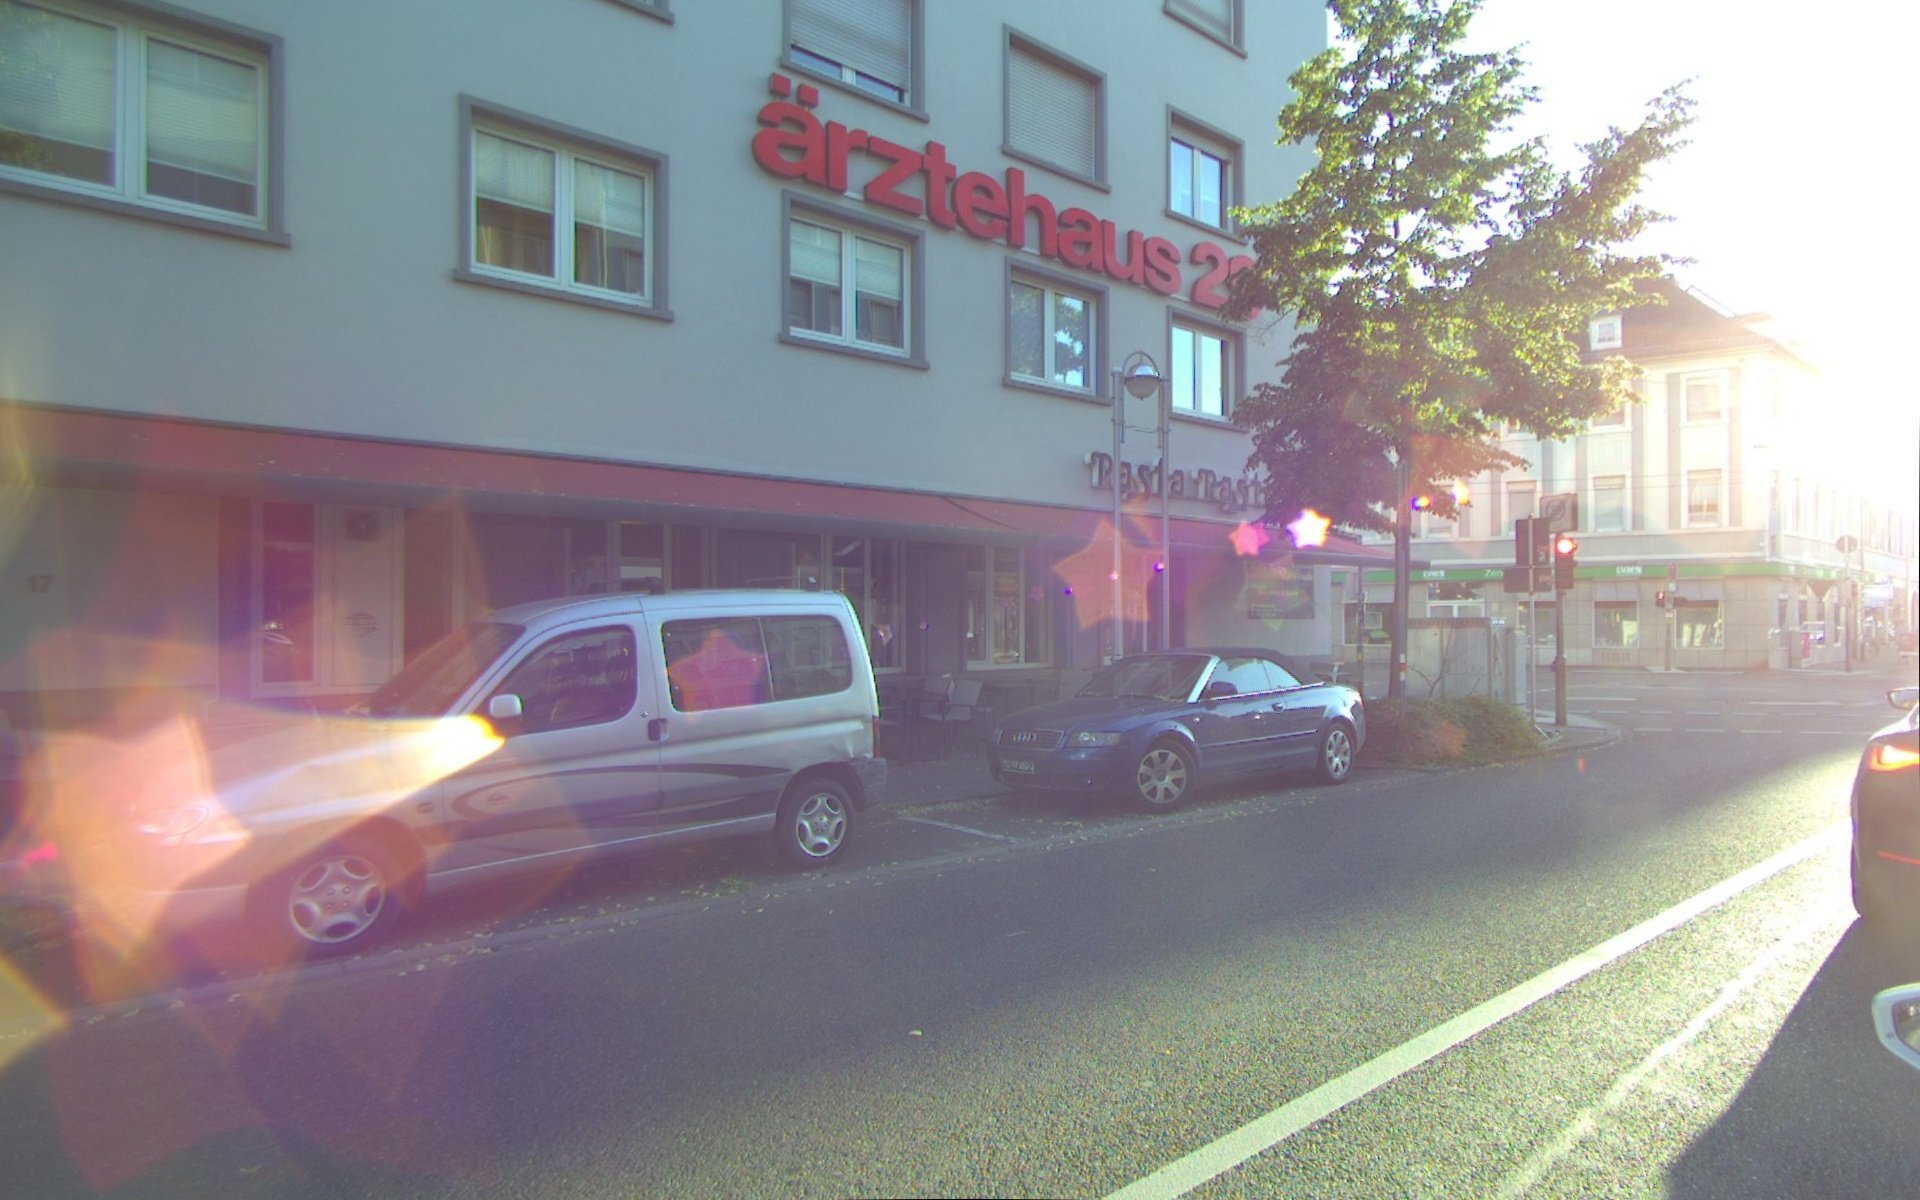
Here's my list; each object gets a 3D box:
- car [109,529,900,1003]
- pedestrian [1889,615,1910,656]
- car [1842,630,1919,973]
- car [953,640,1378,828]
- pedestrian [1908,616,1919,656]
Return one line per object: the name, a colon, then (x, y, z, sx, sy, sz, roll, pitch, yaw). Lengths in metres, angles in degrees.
car: (-2.455, 0.752, 6.035, 4.022, 1.912, 1.655, 2, -4, -41)
pedestrian: (44.945, 1.693, 48.052, 0.626, 1.901, 0.638, 1, 0, -38)
car: (6.073, 0.899, 5.118, 4.188, 1.447, 1.723, 1, -1, -39)
car: (2.121, 1.123, 9.698, 4.244, 1.434, 1.710, 2, -4, -39)
pedestrian: (45.132, 1.696, 47.242, 0.612, 1.901, 0.671, 1, 0, -38)
